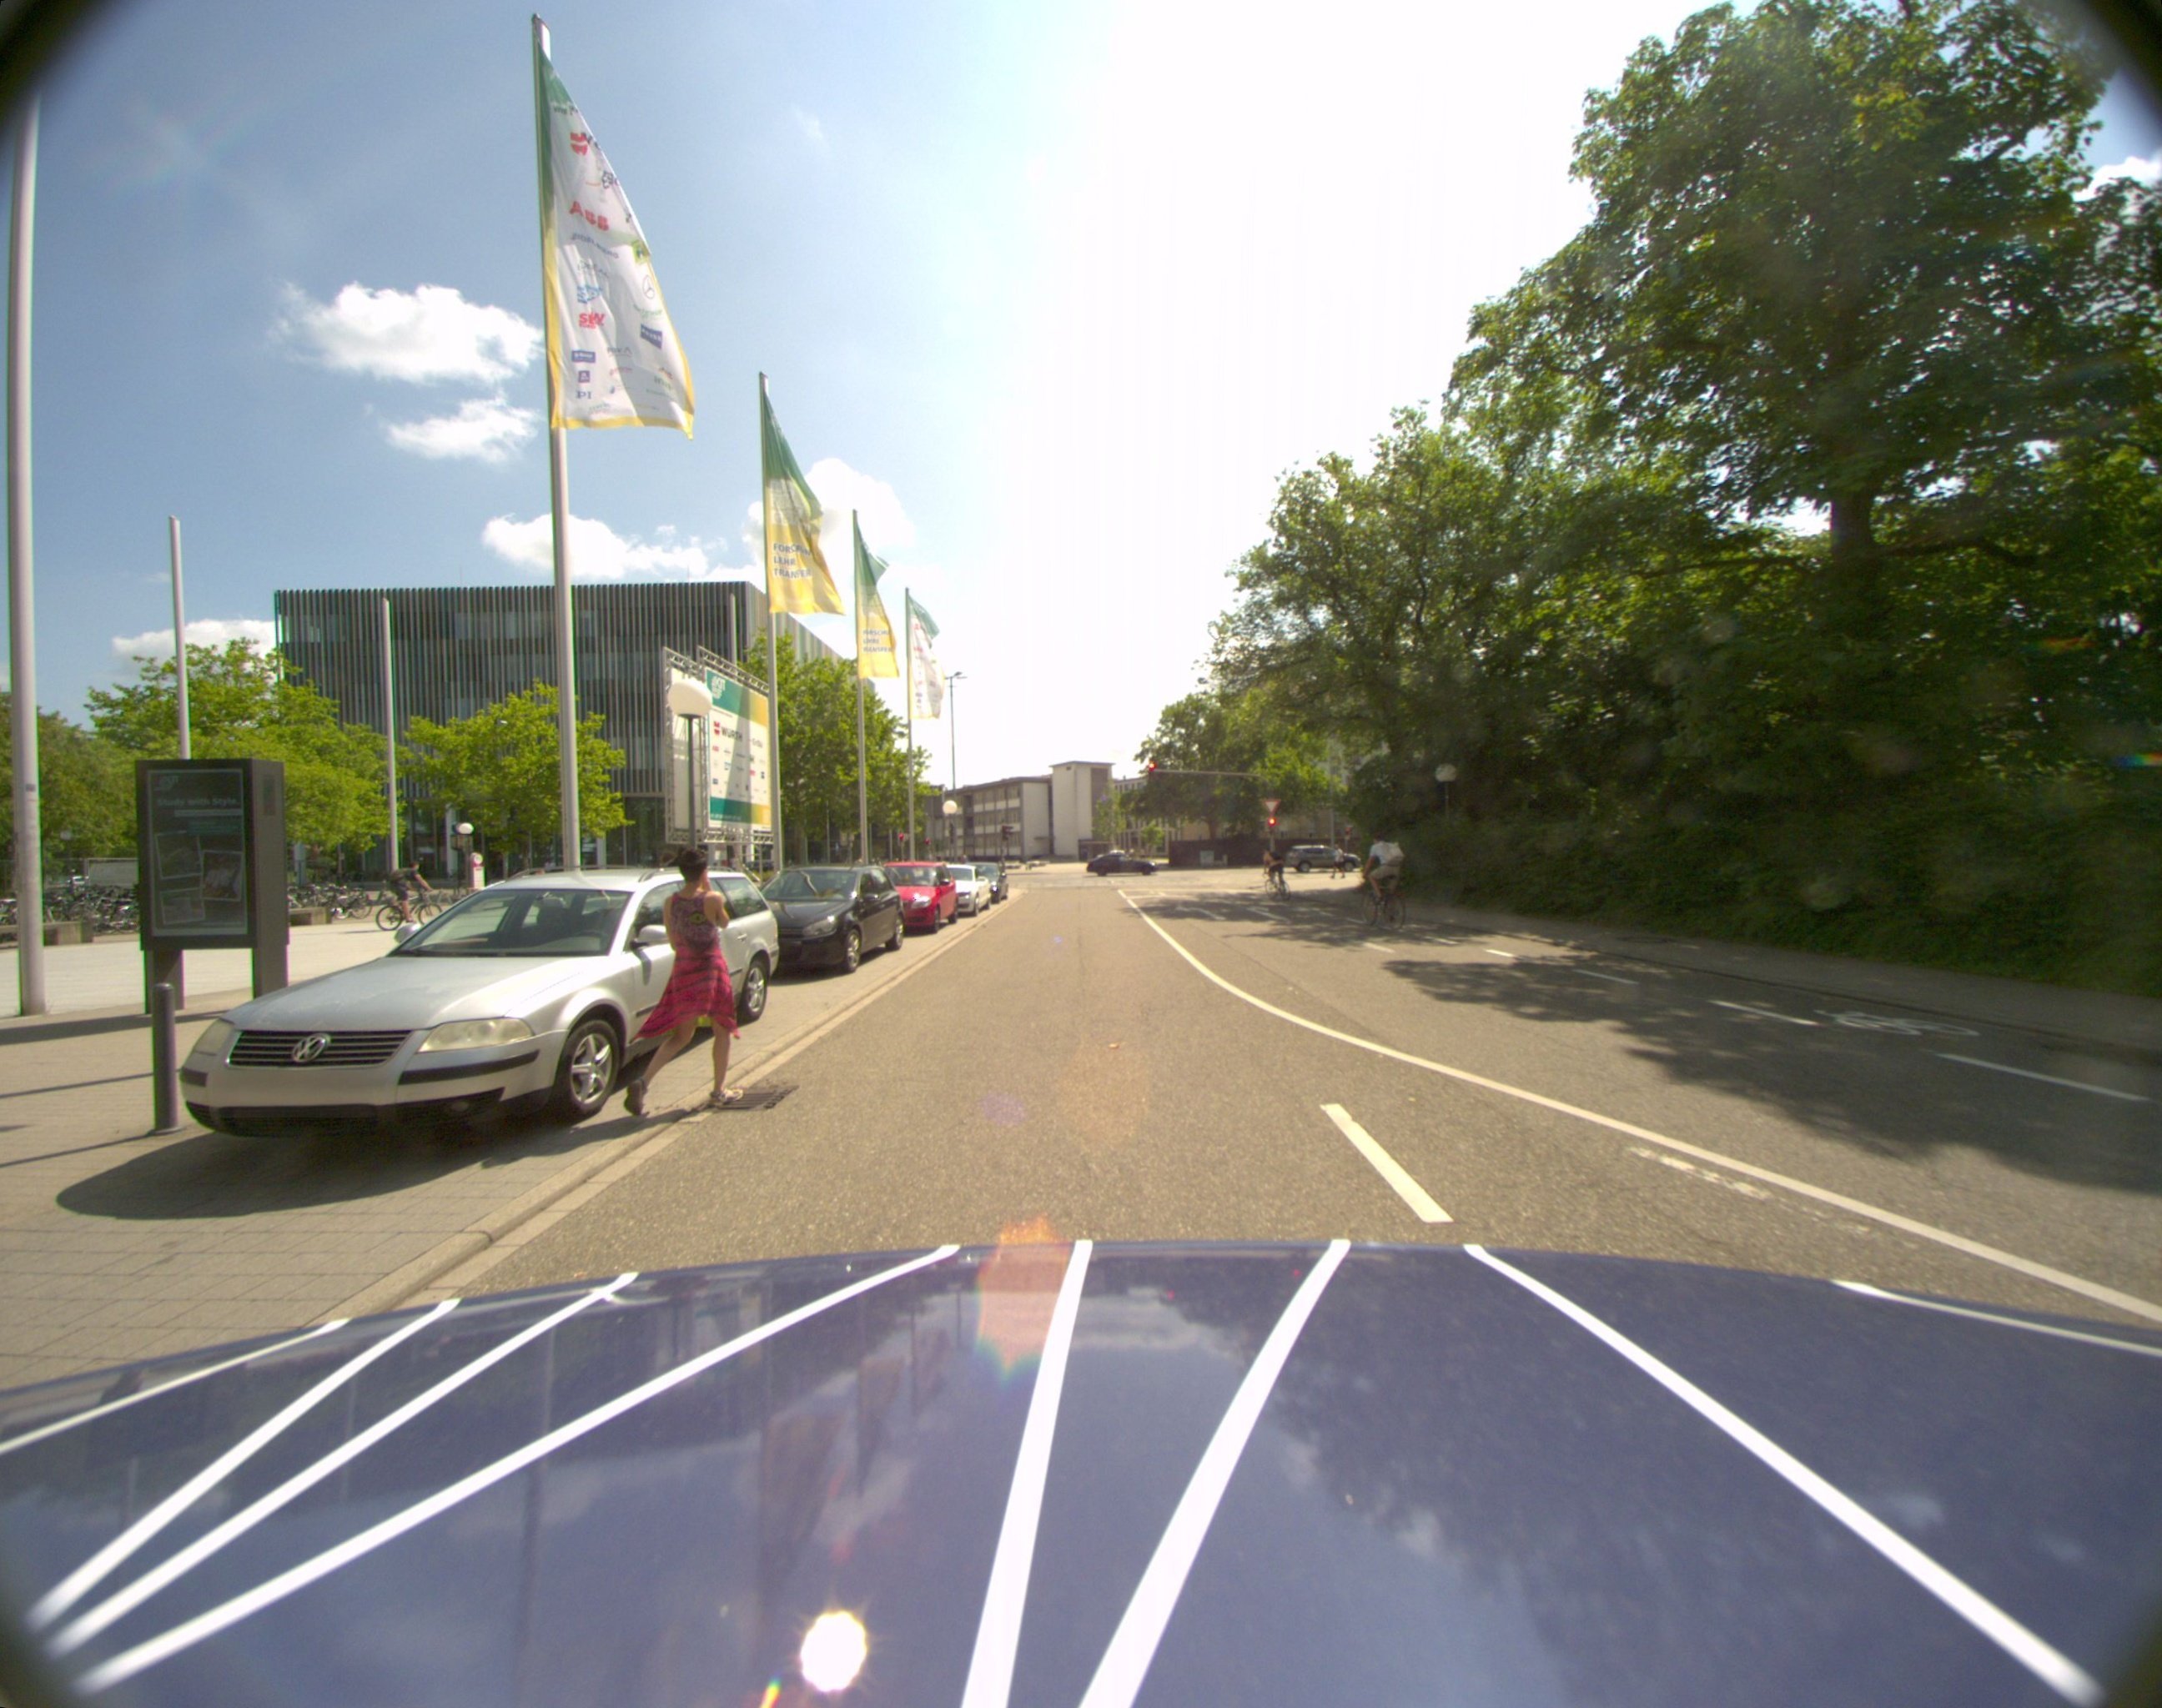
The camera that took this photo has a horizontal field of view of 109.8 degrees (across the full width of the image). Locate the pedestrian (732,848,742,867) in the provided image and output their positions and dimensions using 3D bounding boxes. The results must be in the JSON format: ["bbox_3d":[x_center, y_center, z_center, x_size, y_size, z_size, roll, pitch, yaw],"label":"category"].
[{"bbox_3d":[-33.404,0.372,73.810,0.789,1.831,0.516,-2,1,-19],"label":"pedestrian"}]

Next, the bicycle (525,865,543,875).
[{"bbox_3d":[-52.848,1.537,73.416,0.373,0.950,1.547,-1,2,15],"label":"bicycle"}]

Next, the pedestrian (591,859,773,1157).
[{"bbox_3d":[-2.521,0.895,4.923,0.624,1.707,1.040,-1,1,-3],"label":"pedestrian"}]

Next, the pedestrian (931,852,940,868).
[{"bbox_3d":[-16.939,0.714,88.347,0.845,1.780,0.676,-2,1,-30],"label":"pedestrian"}]

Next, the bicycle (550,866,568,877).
[{"bbox_3d":[-50.405,1.649,73.396,0.373,0.950,1.548,-1,2,15],"label":"bicycle"}]

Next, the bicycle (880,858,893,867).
[{"bbox_3d":[-20.698,0.878,80.800,1.768,0.950,0.530,0,2,44],"label":"bicycle"}]

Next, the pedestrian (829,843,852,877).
[{"bbox_3d":[-13.275,0.333,42.003,0.856,1.808,1.176,2,-3,0],"label":"pedestrian"}]

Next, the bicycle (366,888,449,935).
[{"bbox_3d":[-17.873,1.506,20.223,0.682,1.131,1.692,-1,-1,0],"label":"bicycle"}]

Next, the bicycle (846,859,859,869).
[{"bbox_3d":[-23.700,1.059,78.797,0.530,0.950,1.768,-7,5,-43],"label":"bicycle"}]

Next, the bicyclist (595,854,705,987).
[{"bbox_3d":[-5.276,0.789,9.345,0.932,1.555,0.663,-1,1,0],"label":"bicyclist"}]

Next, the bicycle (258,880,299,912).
[{"bbox_3d":[-32.200,1.666,30.508,0.605,1.093,1.763,-3,3,-30],"label":"bicycle"}]

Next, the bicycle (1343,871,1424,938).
[{"bbox_3d":[5.993,0.957,15.187,0.694,1.164,2.209,-1,1,-1],"label":"bicycle"}]

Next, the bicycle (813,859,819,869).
[{"bbox_3d":[-26.682,0.992,76.607,0.529,0.950,1.770,-2,1,-20],"label":"bicycle"}]

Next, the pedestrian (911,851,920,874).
[{"bbox_3d":[-13.665,0.714,62.753,0.575,1.832,0.415,-1,2,-5],"label":"pedestrian"}]

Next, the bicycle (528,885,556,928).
[{"bbox_3d":[-15.533,1.492,21.909,0.609,1.131,1.584,-1,-1,-34],"label":"bicycle"}]

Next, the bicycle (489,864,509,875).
[{"bbox_3d":[-56.068,1.508,73.214,0.373,0.950,1.548,-1,2,15],"label":"bicycle"}]

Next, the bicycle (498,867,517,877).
[{"bbox_3d":[-55.231,1.725,73.189,0.373,0.950,1.548,-1,2,15],"label":"bicycle"}]

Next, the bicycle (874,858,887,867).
[{"bbox_3d":[-21.177,0.893,80.301,1.768,0.950,0.530,0,2,44],"label":"bicycle"}]

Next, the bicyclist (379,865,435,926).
[{"bbox_3d":[-17.884,1.088,20.171,0.682,1.559,0.879,-1,0,0],"label":"bicyclist"}]

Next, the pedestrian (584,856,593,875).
[{"bbox_3d":[-48.844,1.106,75.337,0.554,1.832,0.561,-1,2,-7],"label":"pedestrian"}]

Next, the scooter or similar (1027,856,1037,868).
[{"bbox_3d":[-4.401,0.701,68.407,0.403,1.060,1.149,-2,1,-27],"label":"scooter or similar"}]

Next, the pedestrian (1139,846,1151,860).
[{"bbox_3d":[7.988,-0.165,94.328,1.297,1.641,1.327,-1,1,13],"label":"pedestrian"}]

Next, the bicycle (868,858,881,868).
[{"bbox_3d":[-21.678,0.949,79.785,1.768,0.950,0.530,0,2,44],"label":"bicycle"}]

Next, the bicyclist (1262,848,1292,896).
[{"bbox_3d":[6.562,0.587,25.494,0.694,1.539,1.018,-1,1,-1],"label":"bicyclist"}]

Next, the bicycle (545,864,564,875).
[{"bbox_3d":[-50.970,1.486,73.541,0.373,0.950,1.548,-1,2,15],"label":"bicycle"}]

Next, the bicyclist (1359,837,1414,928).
[{"bbox_3d":[5.977,0.543,14.908,0.694,1.727,0.918,-1,1,-1],"label":"bicyclist"}]

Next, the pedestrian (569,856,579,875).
[{"bbox_3d":[-50.453,1.123,75.656,0.554,1.832,0.561,-1,2,-7],"label":"pedestrian"}]

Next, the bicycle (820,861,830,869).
[{"bbox_3d":[-25.944,1.110,76.966,0.530,0.760,1.769,-2,2,-32],"label":"bicycle"}]

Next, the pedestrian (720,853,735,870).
[{"bbox_3d":[-36.255,0.762,77.944,1.014,1.641,1.182,-1,1,1],"label":"pedestrian"}]

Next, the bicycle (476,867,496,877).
[{"bbox_3d":[-57.615,1.731,73.557,0.373,0.950,1.548,-1,2,15],"label":"bicycle"}]

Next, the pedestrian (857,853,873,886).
[{"bbox_3d":[-11.928,0.846,41.983,0.594,1.789,0.612,-2,-1,31],"label":"pedestrian"}]

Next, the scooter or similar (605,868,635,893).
[{"bbox_3d":[-21.974,1.278,36.219,1.192,1.159,0.353,-1,3,0],"label":"scooter or similar"}]

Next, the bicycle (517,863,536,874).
[{"bbox_3d":[-53.416,1.426,73.162,0.373,0.950,1.548,-1,2,15],"label":"bicycle"}]

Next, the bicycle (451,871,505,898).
[{"bbox_3d":[-28.100,1.432,35.428,2.028,1.176,0.800,-1,2,11],"label":"bicycle"}]

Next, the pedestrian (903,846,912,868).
[{"bbox_3d":[-14.405,0.260,63.016,0.633,1.832,0.479,-2,2,-14],"label":"pedestrian"}]

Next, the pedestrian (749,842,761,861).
[{"bbox_3d":[-31.339,-0.261,73.028,0.677,1.832,0.691,-1,2,8],"label":"pedestrian"}]

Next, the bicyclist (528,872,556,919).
[{"bbox_3d":[-15.542,1.196,21.924,0.609,1.312,0.741,-1,0,-34],"label":"bicyclist"}]

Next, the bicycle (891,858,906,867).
[{"bbox_3d":[-19.650,0.890,81.688,1.768,0.950,0.530,0,2,38],"label":"bicycle"}]

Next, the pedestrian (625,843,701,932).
[{"bbox_3d":[-8.429,0.657,15.371,0.920,1.730,1.001,-1,1,0],"label":"pedestrian"}]

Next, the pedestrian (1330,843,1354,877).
[{"bbox_3d":[13.286,0.314,38.715,0.930,1.690,0.854,-1,0,3],"label":"pedestrian"}]

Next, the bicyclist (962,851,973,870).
[{"bbox_3d":[-9.643,0.559,64.610,0.787,1.530,0.656,-2,1,-24],"label":"bicyclist"}]

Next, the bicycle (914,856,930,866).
[{"bbox_3d":[-15.538,0.674,74.226,1.768,0.950,0.530,0,2,38],"label":"bicycle"}]

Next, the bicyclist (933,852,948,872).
[{"bbox_3d":[-11.726,0.674,63.394,1.001,1.606,0.656,-2,1,-28],"label":"bicyclist"}]

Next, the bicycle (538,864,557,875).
[{"bbox_3d":[-51.659,1.485,73.590,0.373,0.950,1.548,-1,2,15],"label":"bicycle"}]
